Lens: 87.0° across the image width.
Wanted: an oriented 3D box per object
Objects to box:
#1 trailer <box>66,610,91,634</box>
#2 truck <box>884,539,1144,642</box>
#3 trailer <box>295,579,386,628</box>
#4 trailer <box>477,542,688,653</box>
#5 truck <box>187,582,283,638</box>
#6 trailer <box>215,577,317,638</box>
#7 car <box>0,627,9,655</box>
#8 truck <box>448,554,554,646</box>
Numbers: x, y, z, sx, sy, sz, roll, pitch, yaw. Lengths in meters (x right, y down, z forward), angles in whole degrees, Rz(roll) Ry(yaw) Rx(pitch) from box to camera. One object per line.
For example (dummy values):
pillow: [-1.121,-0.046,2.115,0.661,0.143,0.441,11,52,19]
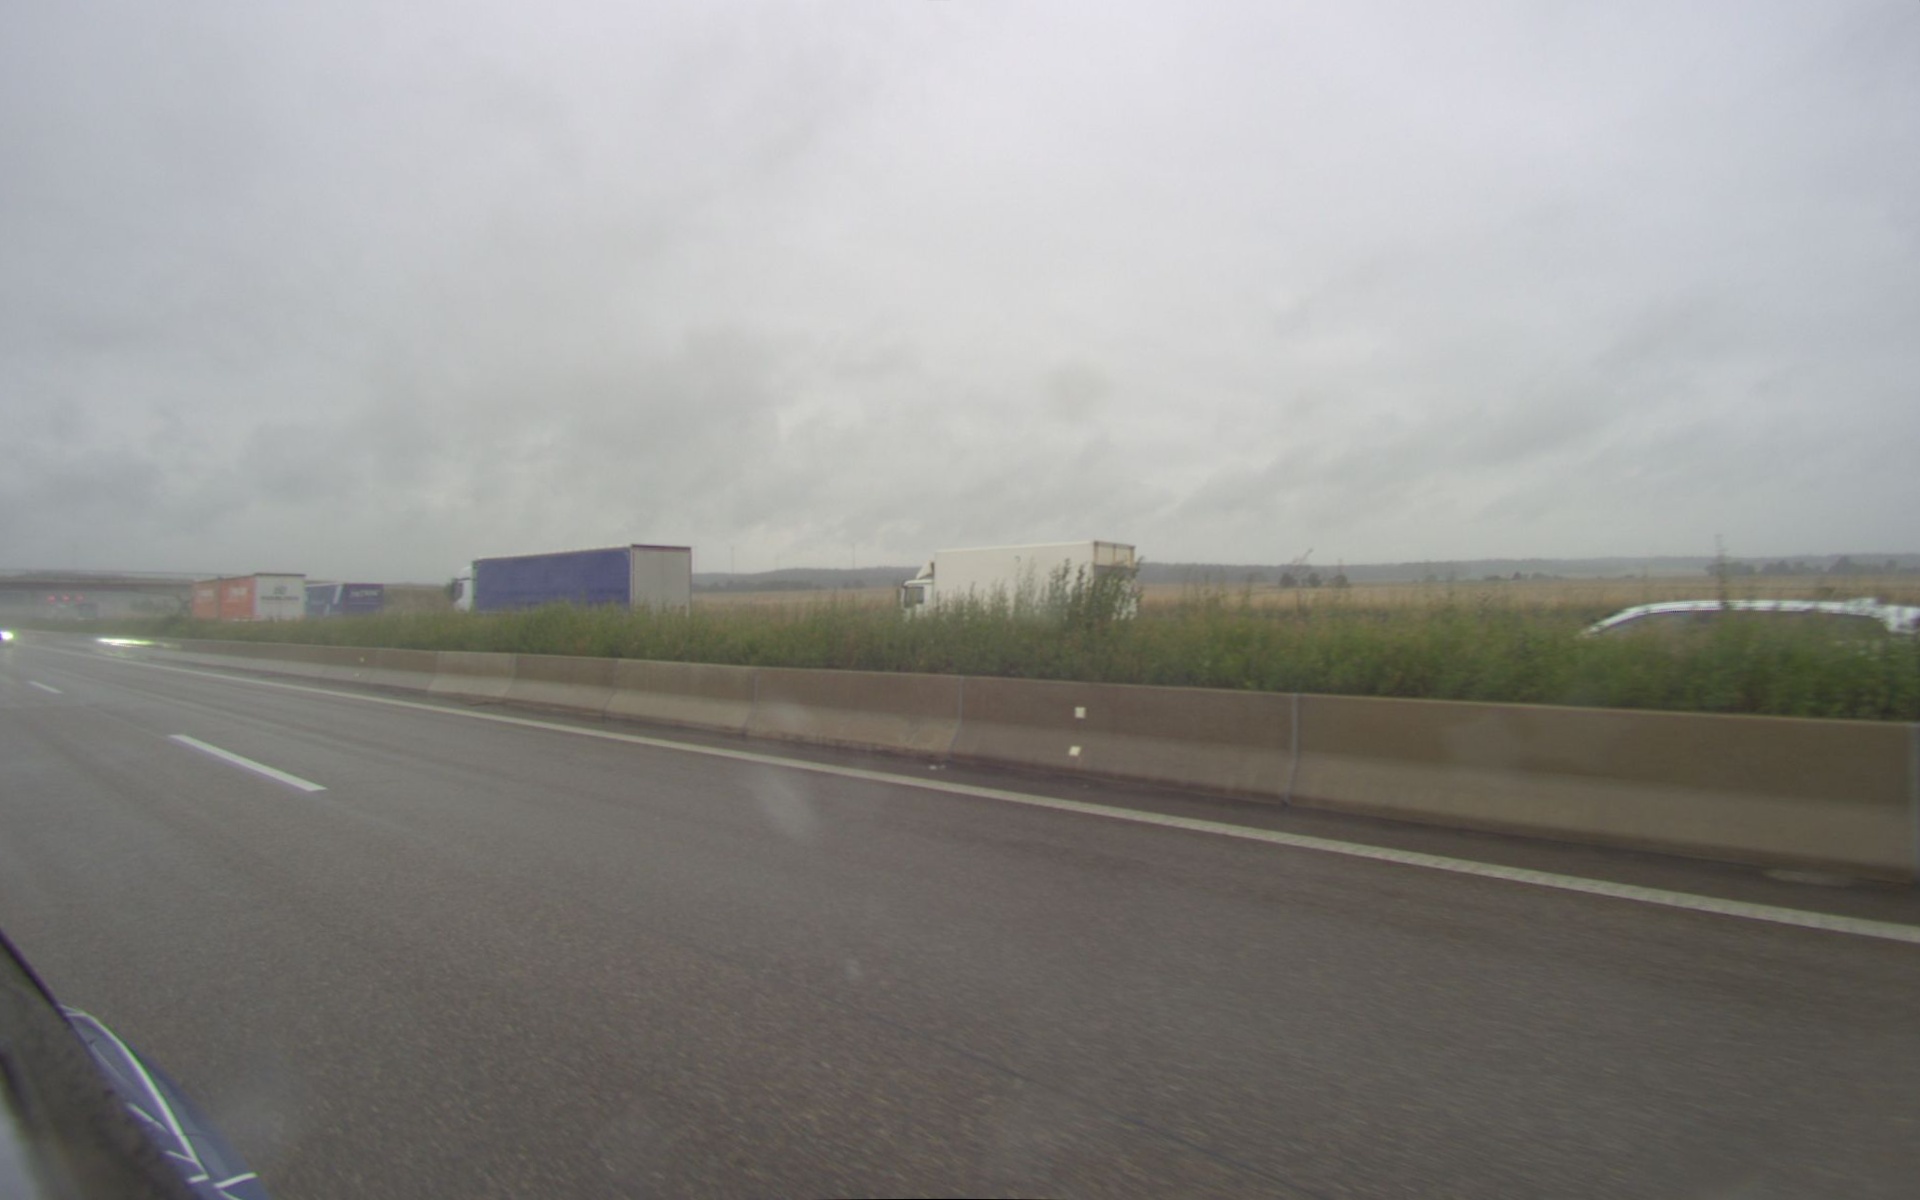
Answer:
trailer: [-152.893,3.747,175.536,14.212,4.027,2.199,-1,-1,45]
truck: [1.554,-0.231,32.499,8.270,2.930,2.793,-1,-1,38]
trailer: [-47.748,0.386,77.712,3.078,3.444,14.247,1,-2,-43]
trailer: [-15.916,0.019,41.603,13.492,3.969,2.409,-1,-1,43]
truck: [-48.384,0.720,67.393,10.129,3.467,3.230,-2,-2,43]
trailer: [-42.619,0.550,61.978,9.443,3.483,3.221,-1,-2,43]
car: [-57.351,2.413,59.652,3.733,1.564,1.678,-1,-1,43]
truck: [-21.122,0.059,46.434,5.610,3.956,2.458,-1,-1,43]
